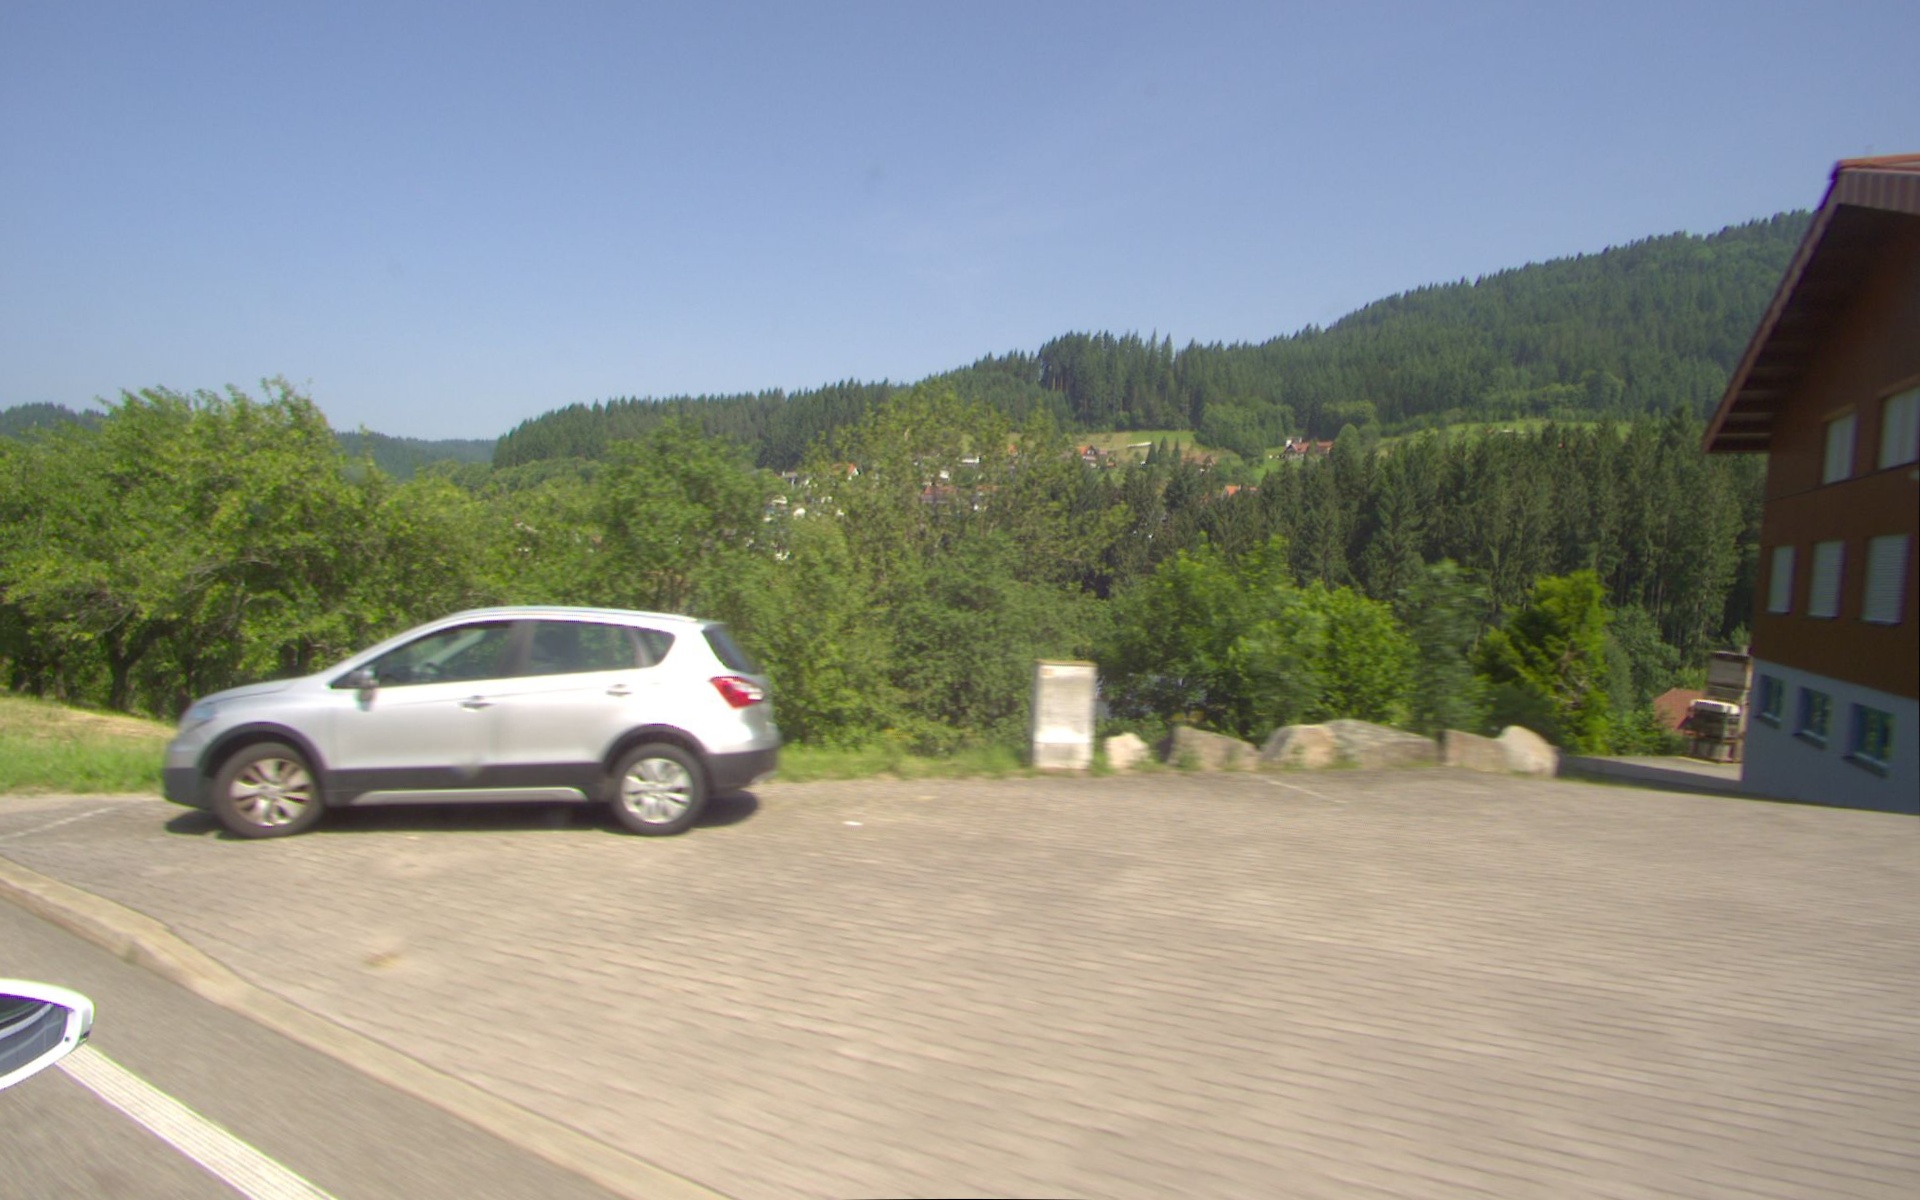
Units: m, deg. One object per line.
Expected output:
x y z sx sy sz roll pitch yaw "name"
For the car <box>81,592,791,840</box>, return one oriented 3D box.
-3.568 0.826 7.658 4.377 1.591 1.906 1 -2 -7 "car"
